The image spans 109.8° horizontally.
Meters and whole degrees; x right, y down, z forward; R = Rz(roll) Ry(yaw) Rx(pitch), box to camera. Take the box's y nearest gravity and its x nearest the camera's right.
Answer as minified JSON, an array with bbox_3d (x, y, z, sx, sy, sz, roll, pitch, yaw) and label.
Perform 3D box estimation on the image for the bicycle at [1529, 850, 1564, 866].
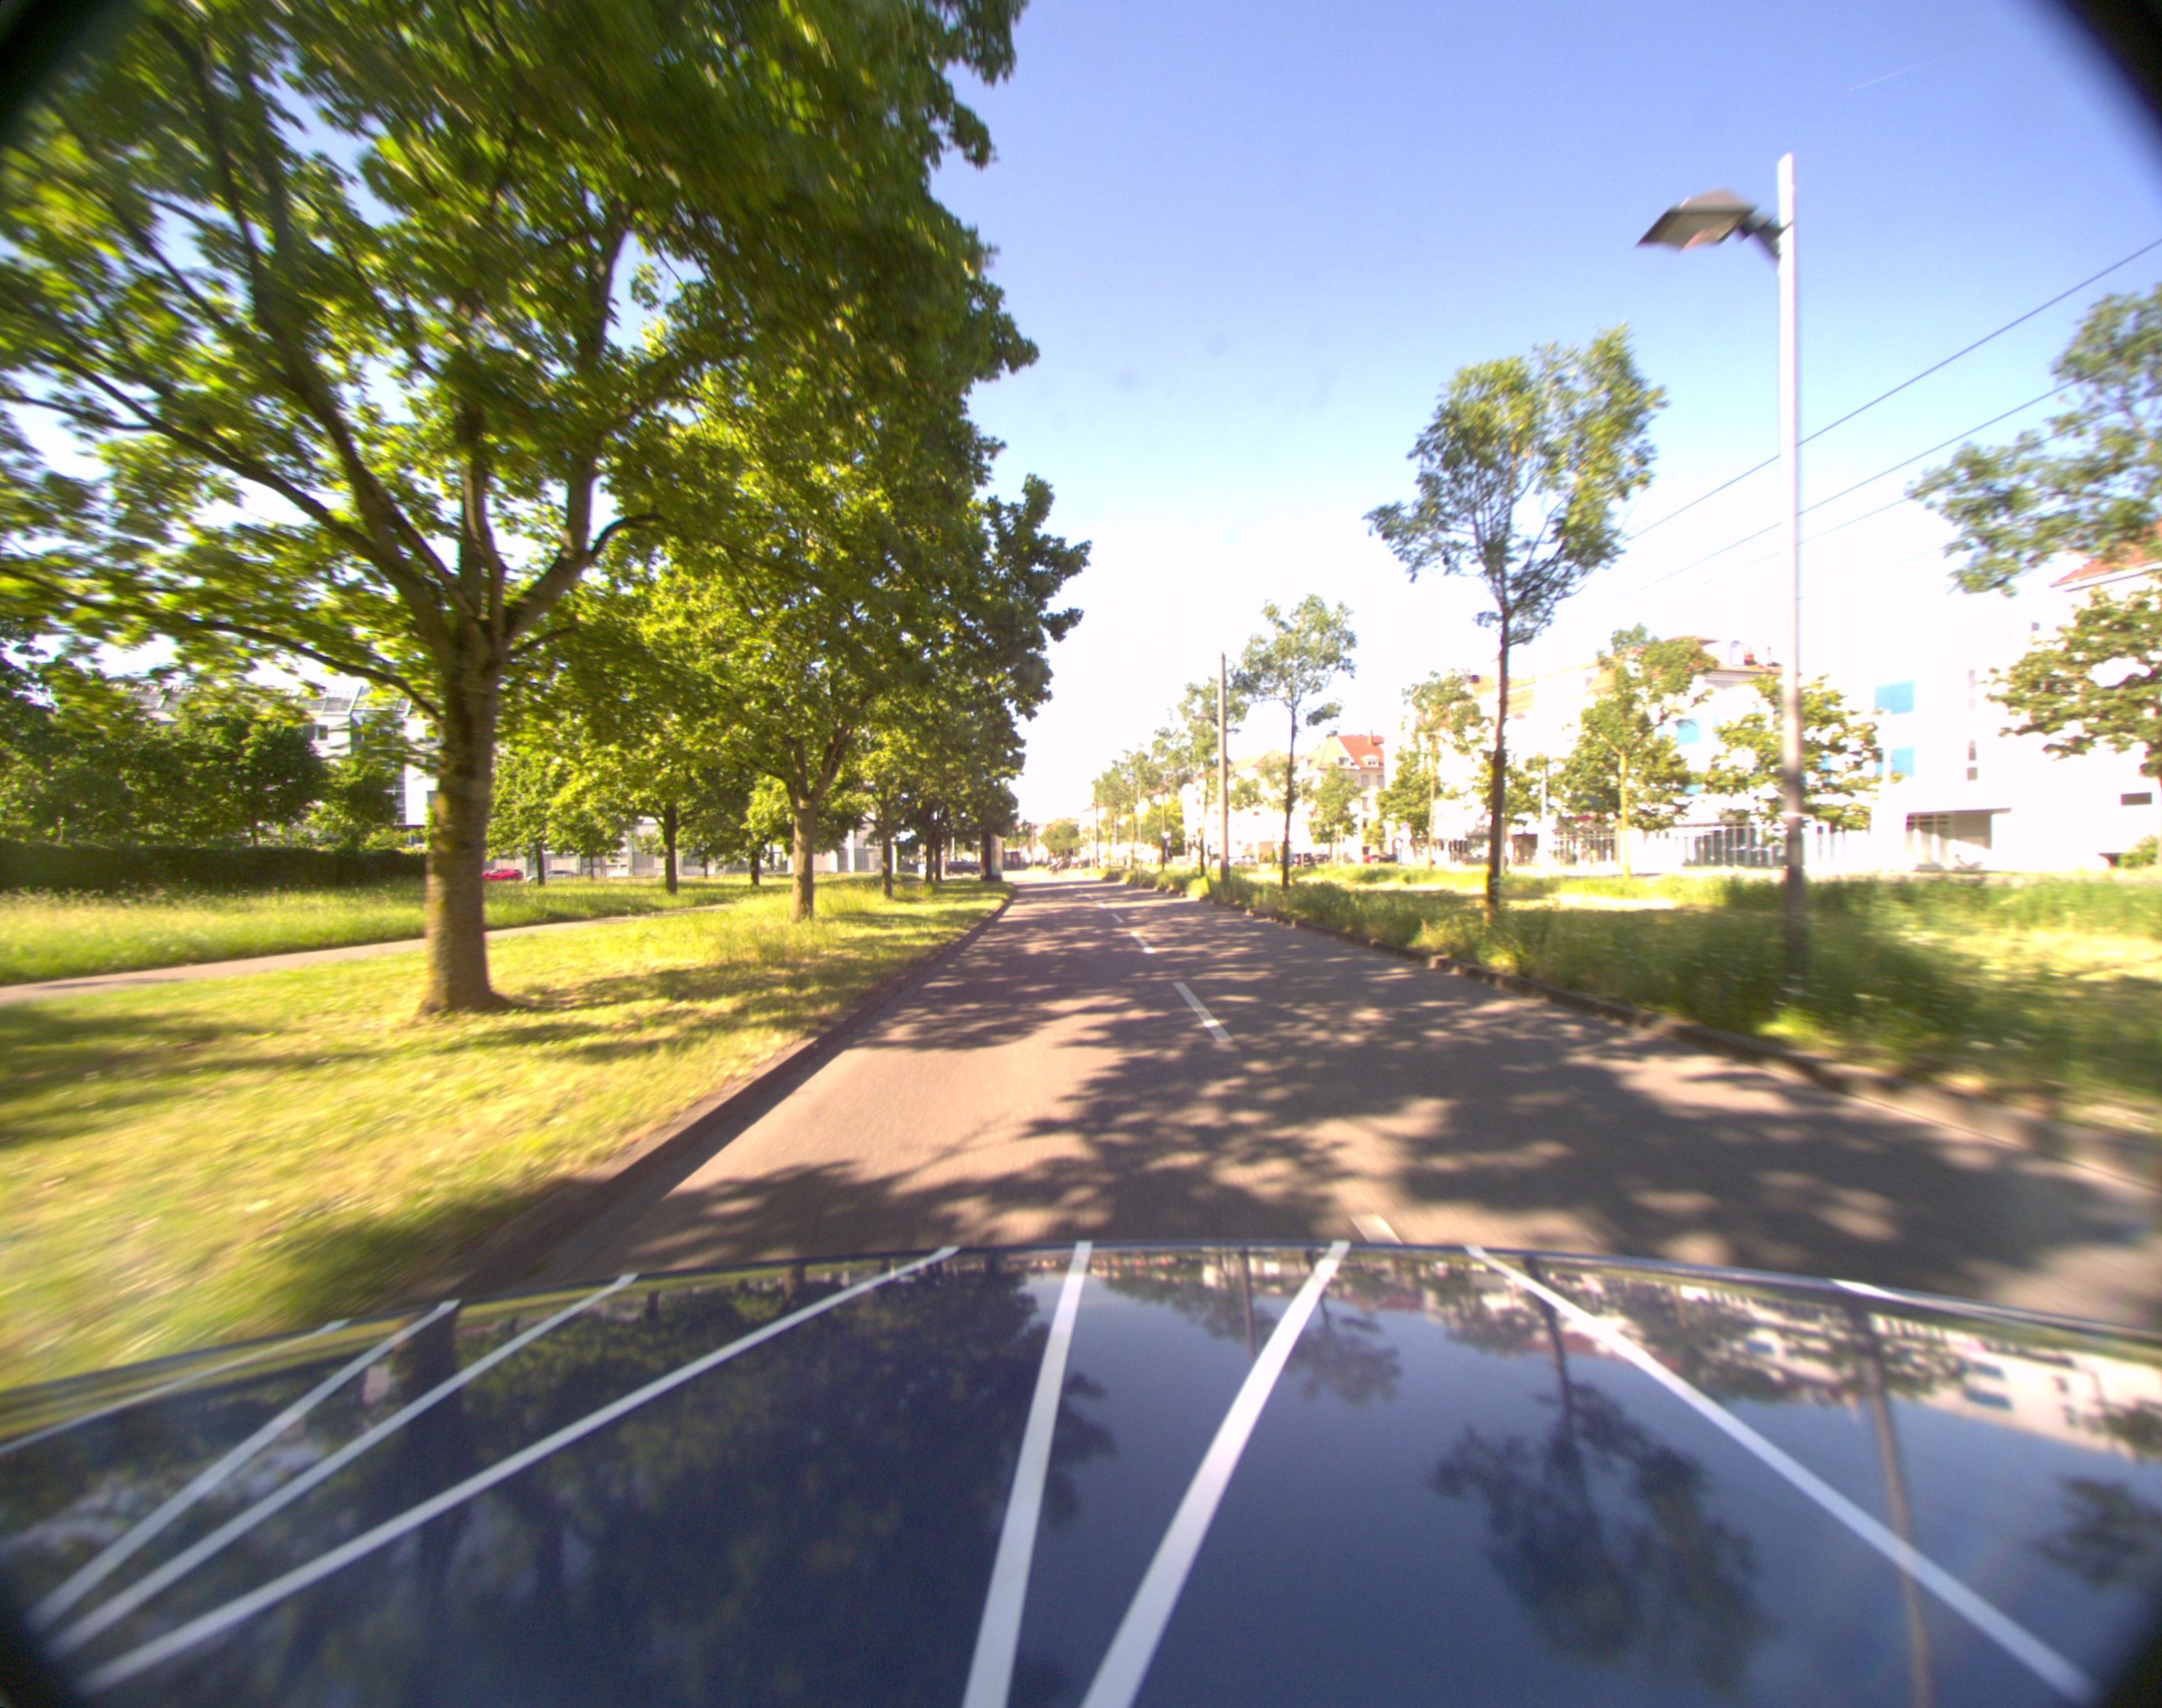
[{"bbox_3d":[38.429,0.323,62.746,2.552,1.205,0.719,-1,0,-9],"label":"bicycle"}]

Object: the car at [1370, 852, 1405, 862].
[{"bbox_3d":[41.084,0.437,101.777,4.092,1.302,1.701,-1,0,-16],"label":"car"}]

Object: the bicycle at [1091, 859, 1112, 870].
[{"bbox_3d":[1.855,0.993,69.663,1.827,0.958,0.817,-1,0,-2],"label":"bicycle"}]

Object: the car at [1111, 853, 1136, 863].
[{"bbox_3d":[7.780,0.758,138.946,4.233,1.700,1.696,-1,0,16],"label":"car"}]

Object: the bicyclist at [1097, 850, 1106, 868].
[{"bbox_3d":[1.864,0.454,69.663,0.715,1.681,0.817,-1,0,-2],"label":"bicyclist"}]

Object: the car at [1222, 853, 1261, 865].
[{"bbox_3d":[20.307,0.638,95.925,4.191,1.457,2.331,-1,0,-16],"label":"car"}]

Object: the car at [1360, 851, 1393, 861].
[{"bbox_3d":[40.897,0.313,105.192,4.092,1.302,1.701,-1,0,-16],"label":"car"}]

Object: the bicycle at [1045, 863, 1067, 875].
[{"bbox_3d":[-2.154,1.299,65.450,1.828,0.958,0.855,-1,0,-8],"label":"bicycle"}]

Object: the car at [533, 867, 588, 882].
[{"bbox_3d":[-53.703,2.134,78.476,4.290,1.412,1.916,-1,0,-18],"label":"car"}]

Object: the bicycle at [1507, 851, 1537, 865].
[{"bbox_3d":[37.336,0.332,64.392,0.719,1.205,2.550,-1,0,-9],"label":"bicycle"}]

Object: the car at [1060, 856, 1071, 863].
[{"bbox_3d":[-3.832,1.421,191.419,1.834,1.700,4.236,-1,0,-15],"label":"car"}]

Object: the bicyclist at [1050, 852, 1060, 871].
[{"bbox_3d":[-2.227,0.649,65.442,0.715,1.591,0.849,-1,0,-8],"label":"bicyclist"}]

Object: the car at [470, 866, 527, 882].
[{"bbox_3d":[-60.194,2.043,78.581,4.290,1.585,1.916,-1,0,-18],"label":"car"}]

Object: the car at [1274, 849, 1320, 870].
[{"bbox_3d":[17.280,0.445,60.981,1.825,1.631,4.486,-1,0,-8],"label":"car"}]

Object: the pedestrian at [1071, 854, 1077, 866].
[{"bbox_3d":[-0.980,0.827,106.253,0.723,1.687,0.608,-1,0,-9],"label":"pedestrian"}]

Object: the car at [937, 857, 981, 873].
[{"bbox_3d":[-13.457,1.223,83.952,4.633,1.613,1.997,-1,1,-13],"label":"car"}]

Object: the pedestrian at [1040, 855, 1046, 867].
[{"bbox_3d":[-5.354,0.948,107.269,0.641,1.687,0.607,-1,0,-13],"label":"pedestrian"}]

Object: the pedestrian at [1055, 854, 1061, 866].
[{"bbox_3d":[-3.364,0.863,110.010,0.733,1.687,0.735,-1,0,-9],"label":"pedestrian"}]

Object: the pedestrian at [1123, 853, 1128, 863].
[{"bbox_3d":[8.084,0.737,137.968,0.787,1.700,0.703,-1,0,-15],"label":"pedestrian"}]
